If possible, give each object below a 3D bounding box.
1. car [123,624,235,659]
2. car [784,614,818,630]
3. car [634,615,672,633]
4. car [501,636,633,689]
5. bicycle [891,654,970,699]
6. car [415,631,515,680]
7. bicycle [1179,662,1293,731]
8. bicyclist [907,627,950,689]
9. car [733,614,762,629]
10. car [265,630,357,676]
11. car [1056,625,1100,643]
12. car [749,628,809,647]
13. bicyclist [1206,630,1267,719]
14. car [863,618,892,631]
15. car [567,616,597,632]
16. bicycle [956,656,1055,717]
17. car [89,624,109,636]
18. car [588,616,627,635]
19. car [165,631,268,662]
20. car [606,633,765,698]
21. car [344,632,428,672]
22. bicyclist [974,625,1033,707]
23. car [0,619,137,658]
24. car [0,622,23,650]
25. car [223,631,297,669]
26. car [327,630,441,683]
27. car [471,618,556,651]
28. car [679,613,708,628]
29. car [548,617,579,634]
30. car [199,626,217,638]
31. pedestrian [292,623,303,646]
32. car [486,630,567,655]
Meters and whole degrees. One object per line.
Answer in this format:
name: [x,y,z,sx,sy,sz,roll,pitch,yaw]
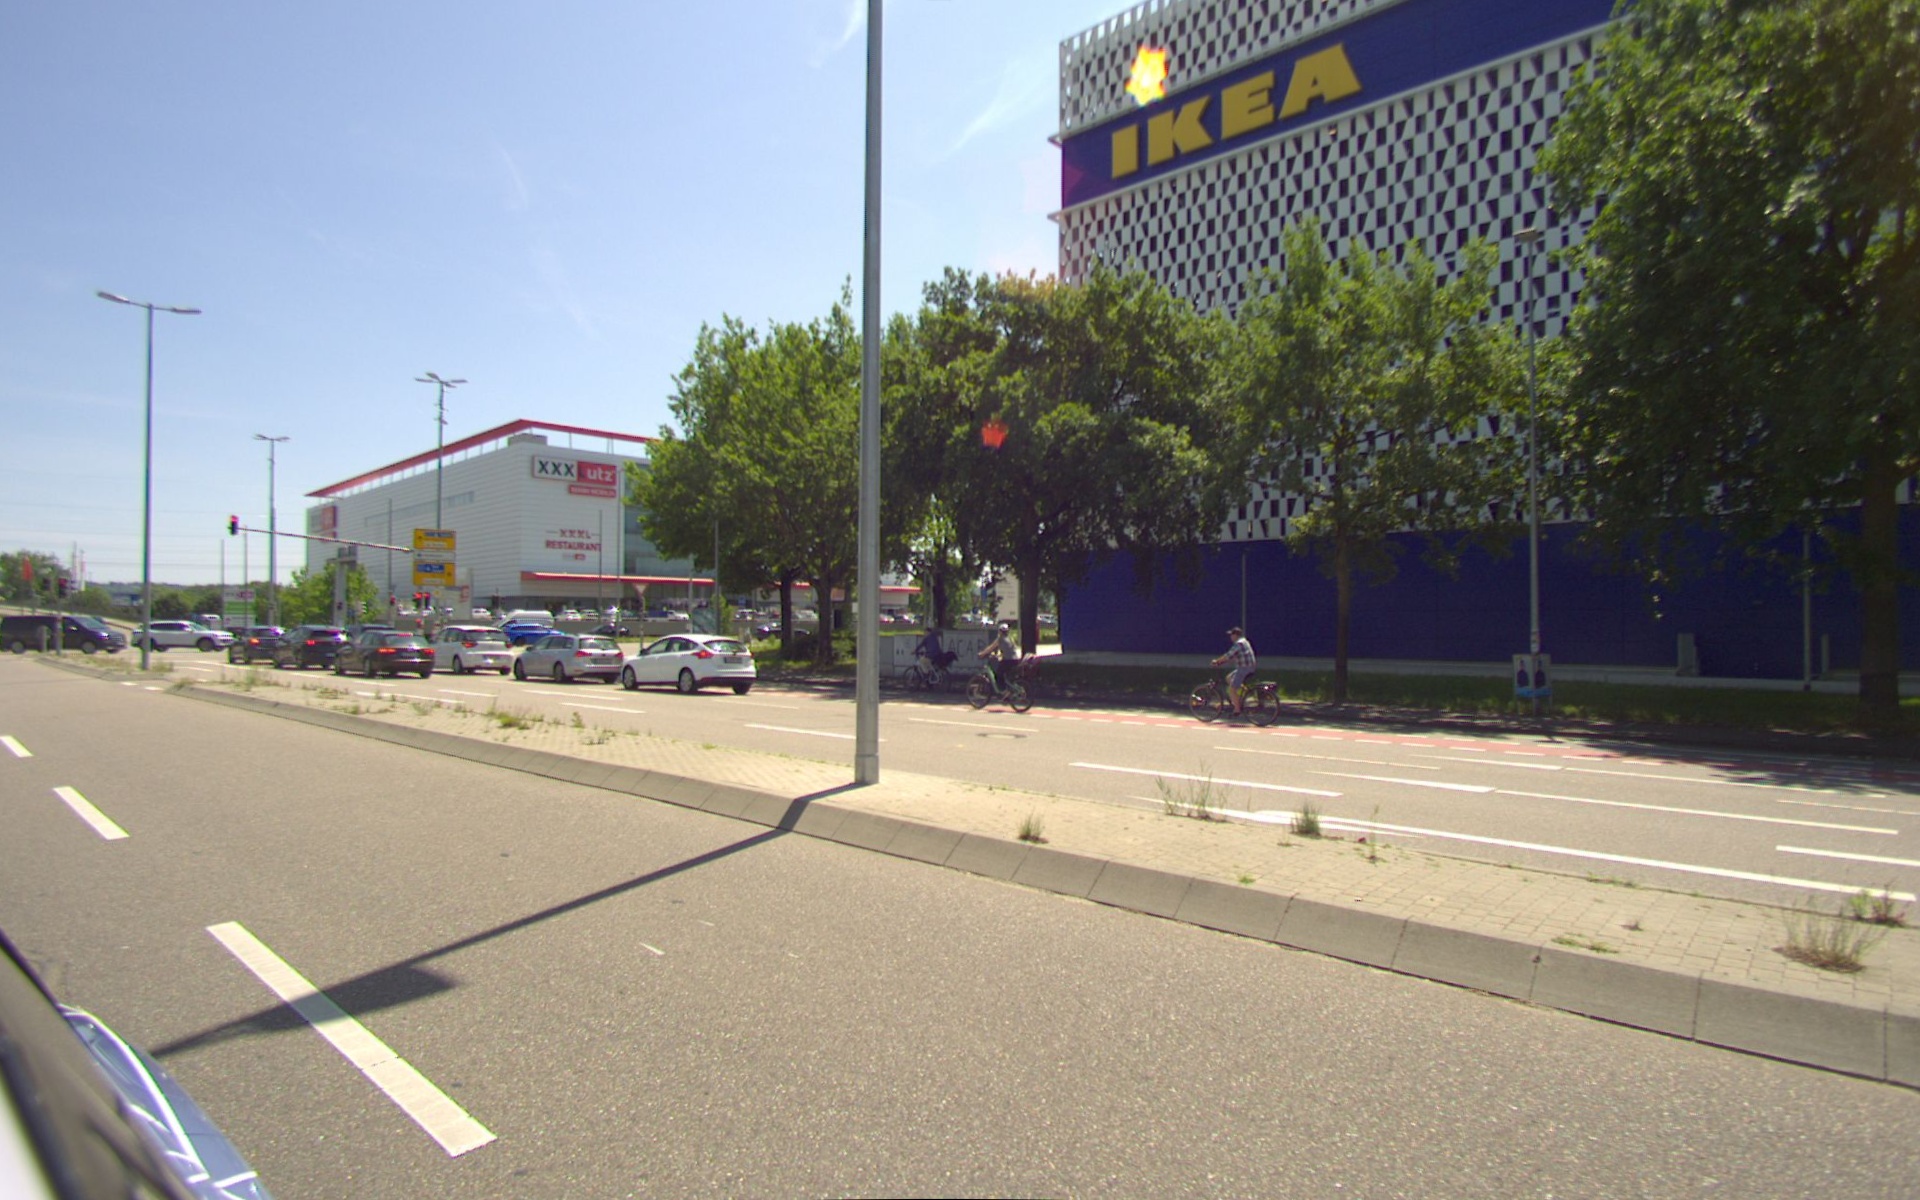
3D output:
car: [-41.734,2.196,54.192,4.414,1.653,1.776,-1,-1,-17]
car: [-20.221,2.794,128.581,4.330,2.029,1.972,-1,-2,43]
car: [-34.144,2.655,112.564,4.324,2.029,1.974,-1,-2,39]
car: [-11.761,1.821,30.116,4.621,1.433,1.728,-2,-4,42]
bicycle: [-0.850,2.089,27.966,0.731,1.134,2.436,2,-2,-45]
car: [-17.036,1.860,34.761,3.915,1.556,1.708,-1,-2,42]
bicycle: [5.041,1.743,18.577,1.971,1.142,0.630,-2,-2,45]
bicyclist: [-0.873,1.588,28.002,0.736,1.698,0.953,2,-2,-45]
car: [-28.909,2.967,137.659,4.001,1.915,1.971,-2,-2,44]
car: [-23.061,1.865,35.927,4.243,1.517,1.707,-1,-4,43]
car: [11.034,3.168,94.664,4.006,1.447,1.796,5,-7,-40]
car: [-13.795,2.860,77.436,1.677,1.415,4.402,-2,-3,44]
bicyclist: [5.064,1.341,18.567,0.885,1.594,0.630,-2,-2,44]
car: [-11.166,3.275,137.009,3.647,1.771,1.760,-1,-2,40]
car: [-45.984,2.921,122.944,4.135,2.029,1.758,-1,-2,43]
bicycle: [0.922,1.763,20.917,2.116,1.168,0.622,-1,-4,42]
car: [-131.907,4.577,155.090,4.002,1.608,1.971,1,0,45]
car: [-37.933,2.707,108.826,4.325,2.029,1.974,-1,-2,39]
car: [-37.317,2.323,50.929,4.020,1.392,1.776,1,2,-31]
car: [-7.004,1.607,25.588,4.450,1.457,1.708,-1,-3,42]
car: [-22.251,1.988,39.189,4.037,1.435,1.642,-1,-2,42]
bicyclist: [0.900,1.351,20.961,1.044,1.641,0.627,-1,-4,42]
car: [-43.771,1.880,49.588,5.043,1.835,2.003,0,-1,-6]
car: [-51.635,1.934,52.701,3.835,1.433,1.775,-2,-1,-11]
car: [-27.598,1.953,39.862,3.716,1.400,1.626,-1,-4,43]
car: [-17.841,1.707,31.261,4.720,1.457,1.707,-1,-4,43]
car: [-30.600,2.340,69.457,4.972,2.200,2.002,1,-3,-43]
car: [-36.426,2.803,138.171,4.000,2.029,1.972,-1,-2,43]
car: [-47.505,3.075,121.290,4.233,2.029,1.758,-1,-2,43]
car: [-143.342,6.047,192.882,2.161,2.300,4.816,2,-3,-45]
pedestrian: [-52.935,2.771,80.862,0.596,1.797,0.827,1,-3,-43]
car: [-27.526,2.681,64.284,4.365,1.413,1.772,-1,-1,-44]
